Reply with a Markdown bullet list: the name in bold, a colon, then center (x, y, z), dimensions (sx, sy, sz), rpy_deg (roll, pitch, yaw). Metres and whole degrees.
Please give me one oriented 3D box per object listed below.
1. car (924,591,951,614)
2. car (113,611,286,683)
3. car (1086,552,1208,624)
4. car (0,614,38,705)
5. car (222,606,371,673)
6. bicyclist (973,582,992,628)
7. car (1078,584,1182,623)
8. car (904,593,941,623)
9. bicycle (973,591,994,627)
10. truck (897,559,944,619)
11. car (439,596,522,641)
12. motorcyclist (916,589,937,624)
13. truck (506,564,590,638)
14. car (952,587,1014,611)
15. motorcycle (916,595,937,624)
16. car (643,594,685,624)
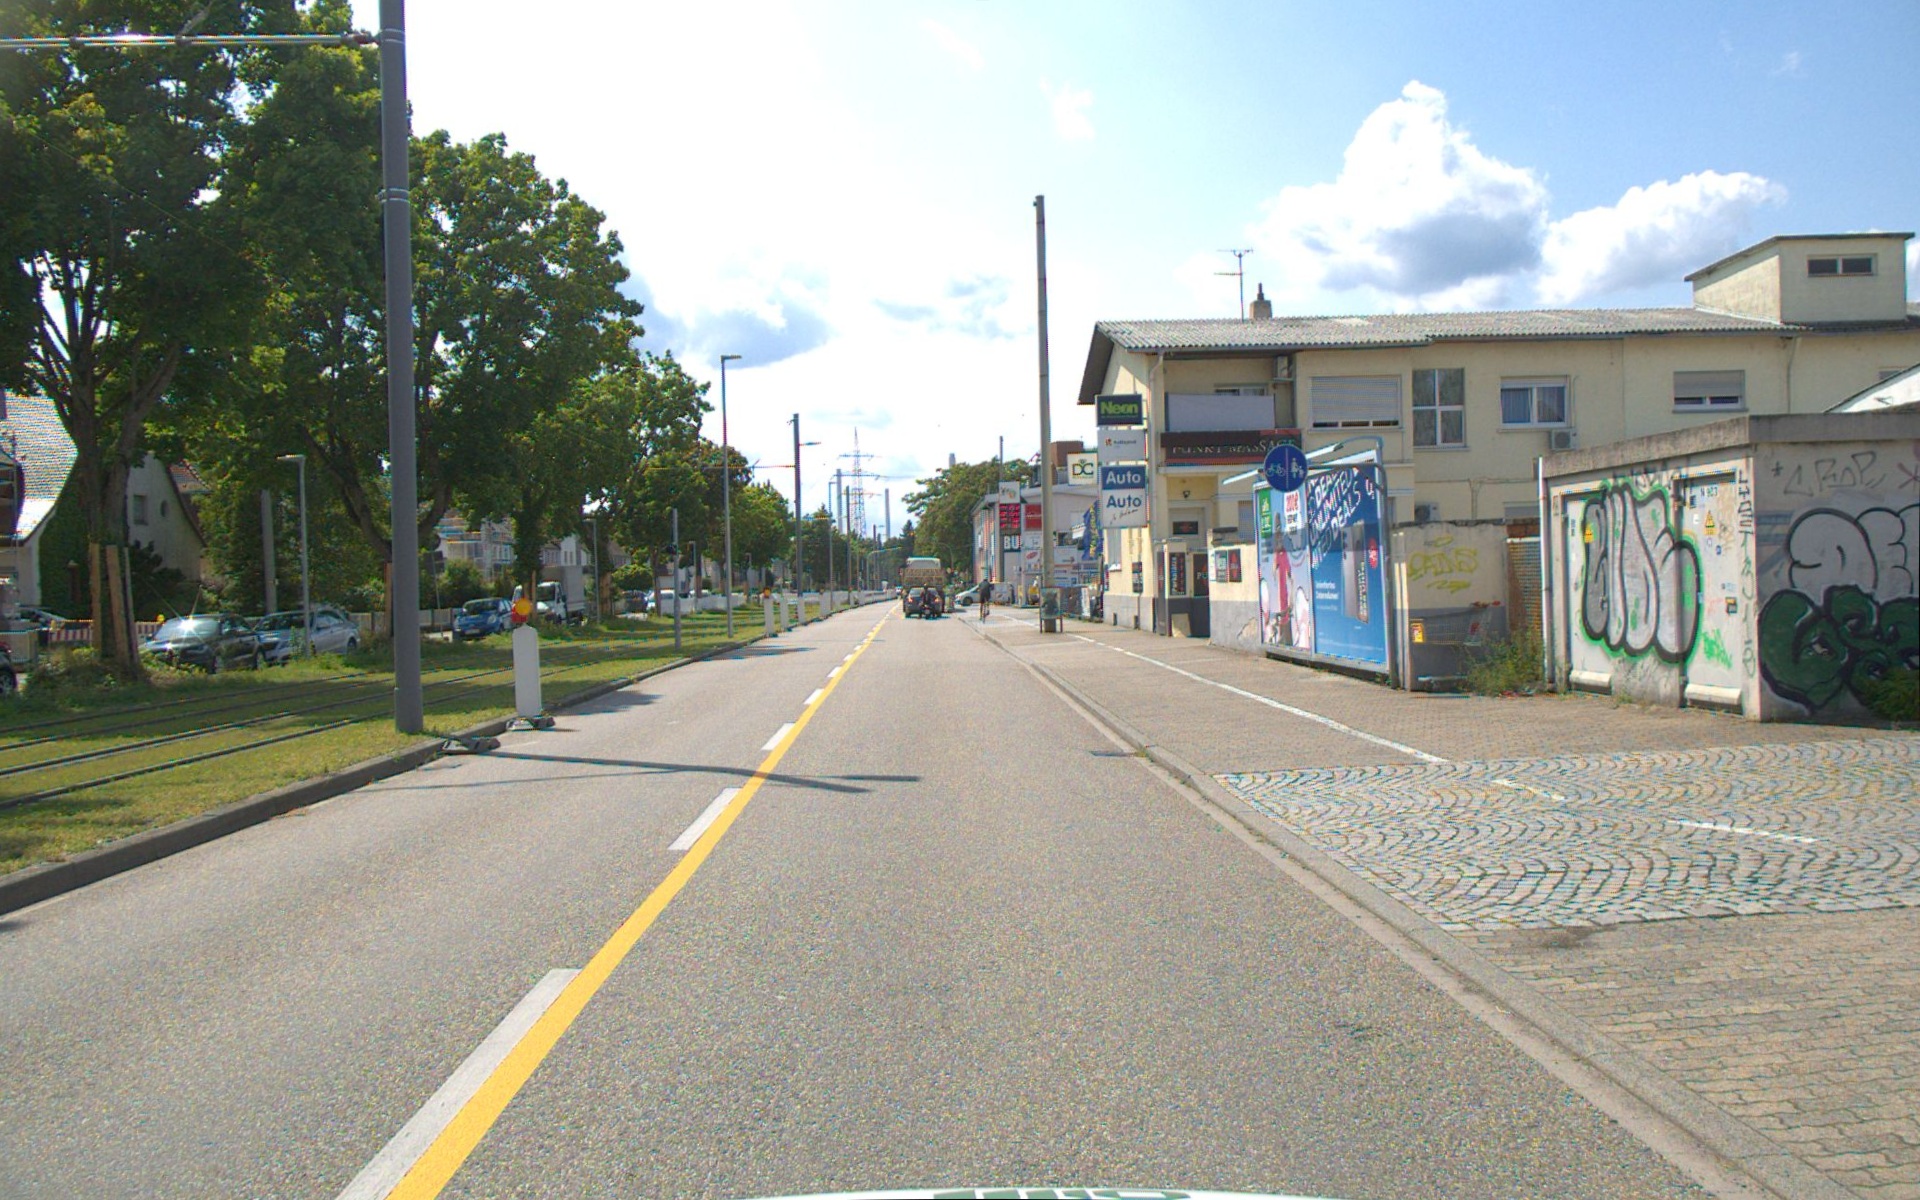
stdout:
- **car**: center (-1.550, 0.142, 112.220), dimensions (1.785, 1.489, 3.999), rpy_deg (0, 0, -1)
- **car**: center (-16.331, 0.977, 35.741), dimensions (1.954, 1.340, 3.851), rpy_deg (-4, 0, -2)
- **car**: center (7.187, -0.464, 64.042), dimensions (4.444, 2.618, 2.151), rpy_deg (-1, 0, 0)
- **car**: center (-16.323, 0.996, 25.545), dimensions (1.953, 1.464, 3.998), rpy_deg (-3, 0, -2)
- **car**: center (-16.497, 0.947, 41.391), dimensions (1.768, 1.508, 4.938), rpy_deg (-2, 0, -1)
- **bicyclist**: center (0.883, 0.195, 65.089), dimensions (0.657, 1.774, 0.813), rpy_deg (-1, 0, -2)
- **car**: center (6.869, 0.162, 66.881), dimensions (4.095, 1.456, 1.821), rpy_deg (-1, 0, 5)
- **car**: center (-1.876, 0.394, 82.802), dimensions (1.785, 1.449, 3.999), rpy_deg (0, 0, -2)
- **bicycle**: center (0.927, 0.332, 65.010), dimensions (0.679, 1.385, 2.417), rpy_deg (-1, 0, -2)
- **truck**: center (-2.328, -0.736, 98.981), dimensions (2.557, 3.312, 9.181), rpy_deg (-2, 1, -1)
- **car**: center (-17.014, 0.654, 58.845), dimensions (1.954, 1.478, 3.997), rpy_deg (-2, 0, -3)
- **motorcyclist**: center (-1.590, 0.299, 78.362), dimensions (0.920, 1.643, 1.204), rpy_deg (1, 0, -2)
- **truck**: center (-17.336, 0.009, 69.881), dimensions (1.954, 2.815, 6.274), rpy_deg (-4, 1, -2)
- **car**: center (1.649, -0.082, 120.568), dimensions (4.251, 1.579, 1.945), rpy_deg (-2, -1, -10)
- **motorcycle**: center (-1.600, 0.455, 78.542), dimensions (0.920, 1.343, 2.644), rpy_deg (1, 0, -1)
- **car**: center (-18.554, 0.554, 103.660), dimensions (1.953, 1.780, 3.999), rpy_deg (-2, 0, -2)
